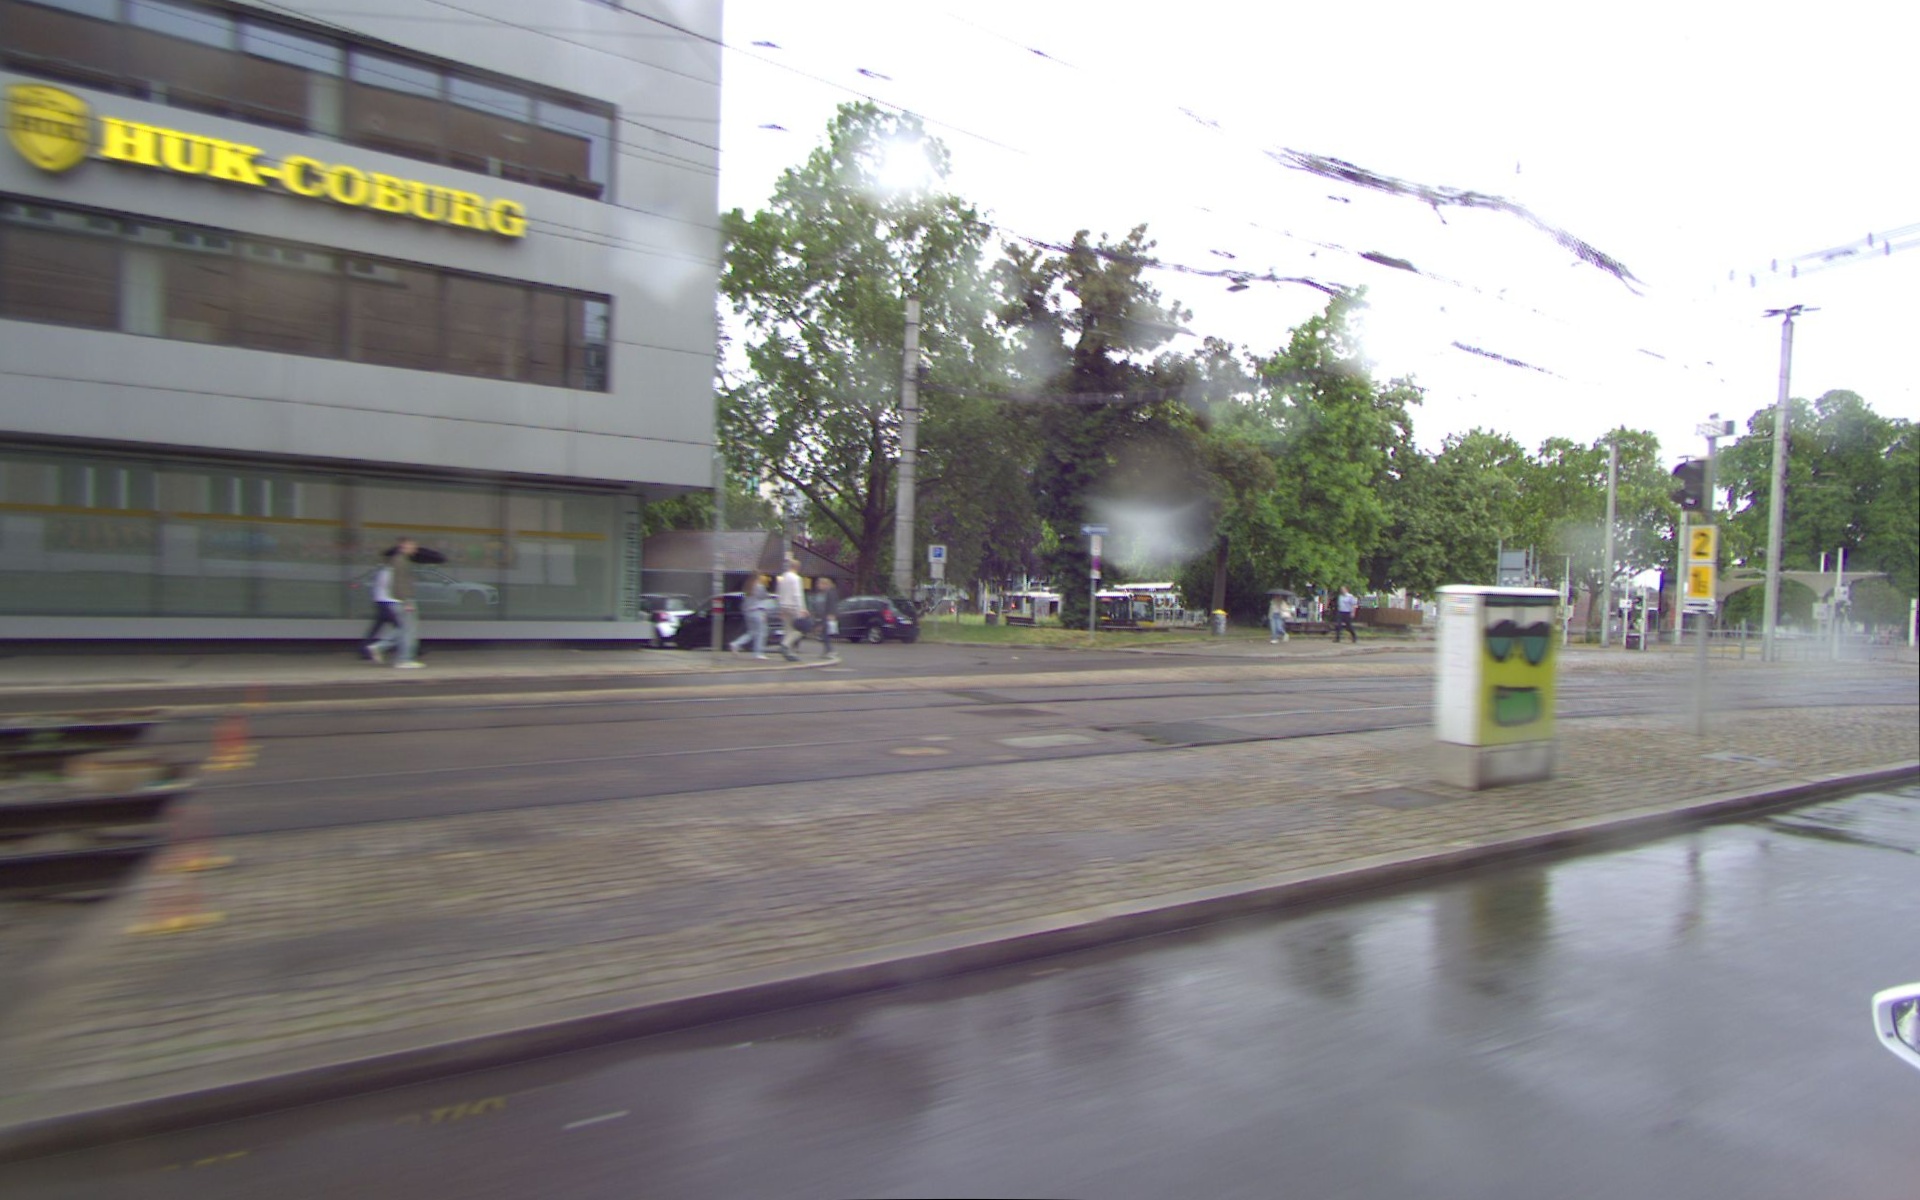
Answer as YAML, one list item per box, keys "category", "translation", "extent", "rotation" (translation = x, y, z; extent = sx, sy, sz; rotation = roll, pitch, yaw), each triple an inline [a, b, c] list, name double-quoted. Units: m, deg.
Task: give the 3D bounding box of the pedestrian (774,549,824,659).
- category: "pedestrian"
  translation: [-3.101, 0.065, 19.358]
  extent: [0.650, 2.041, 0.616]
  rotation: [4, 2, 22]

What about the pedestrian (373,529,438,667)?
- category: "pedestrian"
  translation: [-8.473, -0.034, 15.352]
  extent: [0.801, 2.041, 0.658]
  rotation: [2, 2, -30]

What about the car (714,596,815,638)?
- category: "car"
  translation: [-7.201, 0.620, 36.945]
  extent: [3.481, 1.467, 1.698]
  rotation: [1, -1, 34]

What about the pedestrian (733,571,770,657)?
- category: "pedestrian"
  translation: [-4.046, 0.255, 19.499]
  extent: [0.625, 1.615, 0.587]
  rotation: [2, 2, -13]

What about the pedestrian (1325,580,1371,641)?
- category: "pedestrian"
  translation: [12.620, 0.336, 32.732]
  extent: [0.897, 1.888, 1.001]
  rotation: [2, 2, -12]

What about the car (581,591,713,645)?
- category: "car"
  translation: [-9.095, 0.500, 29.114]
  extent: [3.678, 1.473, 1.698]
  rotation: [1, -1, 33]

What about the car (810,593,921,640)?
- category: "car"
  translation: [-3.156, 0.527, 33.303]
  extent: [3.484, 1.467, 1.696]
  rotation: [1, -1, 38]

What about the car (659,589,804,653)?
- category: "car"
  translation: [-6.019, 0.528, 26.374]
  extent: [3.680, 1.571, 1.697]
  rotation: [1, -1, 36]

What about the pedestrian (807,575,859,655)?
- category: "pedestrian"
  translation: [-2.660, 0.304, 21.048]
  extent: [0.951, 1.615, 0.587]
  rotation: [2, 2, -16]

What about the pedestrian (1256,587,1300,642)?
- category: "pedestrian"
  translation: [9.986, 0.447, 31.602]
  extent: [0.897, 1.615, 1.002]
  rotation: [3, 2, -8]

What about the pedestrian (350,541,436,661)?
- category: "pedestrian"
  translation: [-9.131, 0.002, 16.188]
  extent: [0.954, 1.840, 0.663]
  rotation: [3, 2, 10]
